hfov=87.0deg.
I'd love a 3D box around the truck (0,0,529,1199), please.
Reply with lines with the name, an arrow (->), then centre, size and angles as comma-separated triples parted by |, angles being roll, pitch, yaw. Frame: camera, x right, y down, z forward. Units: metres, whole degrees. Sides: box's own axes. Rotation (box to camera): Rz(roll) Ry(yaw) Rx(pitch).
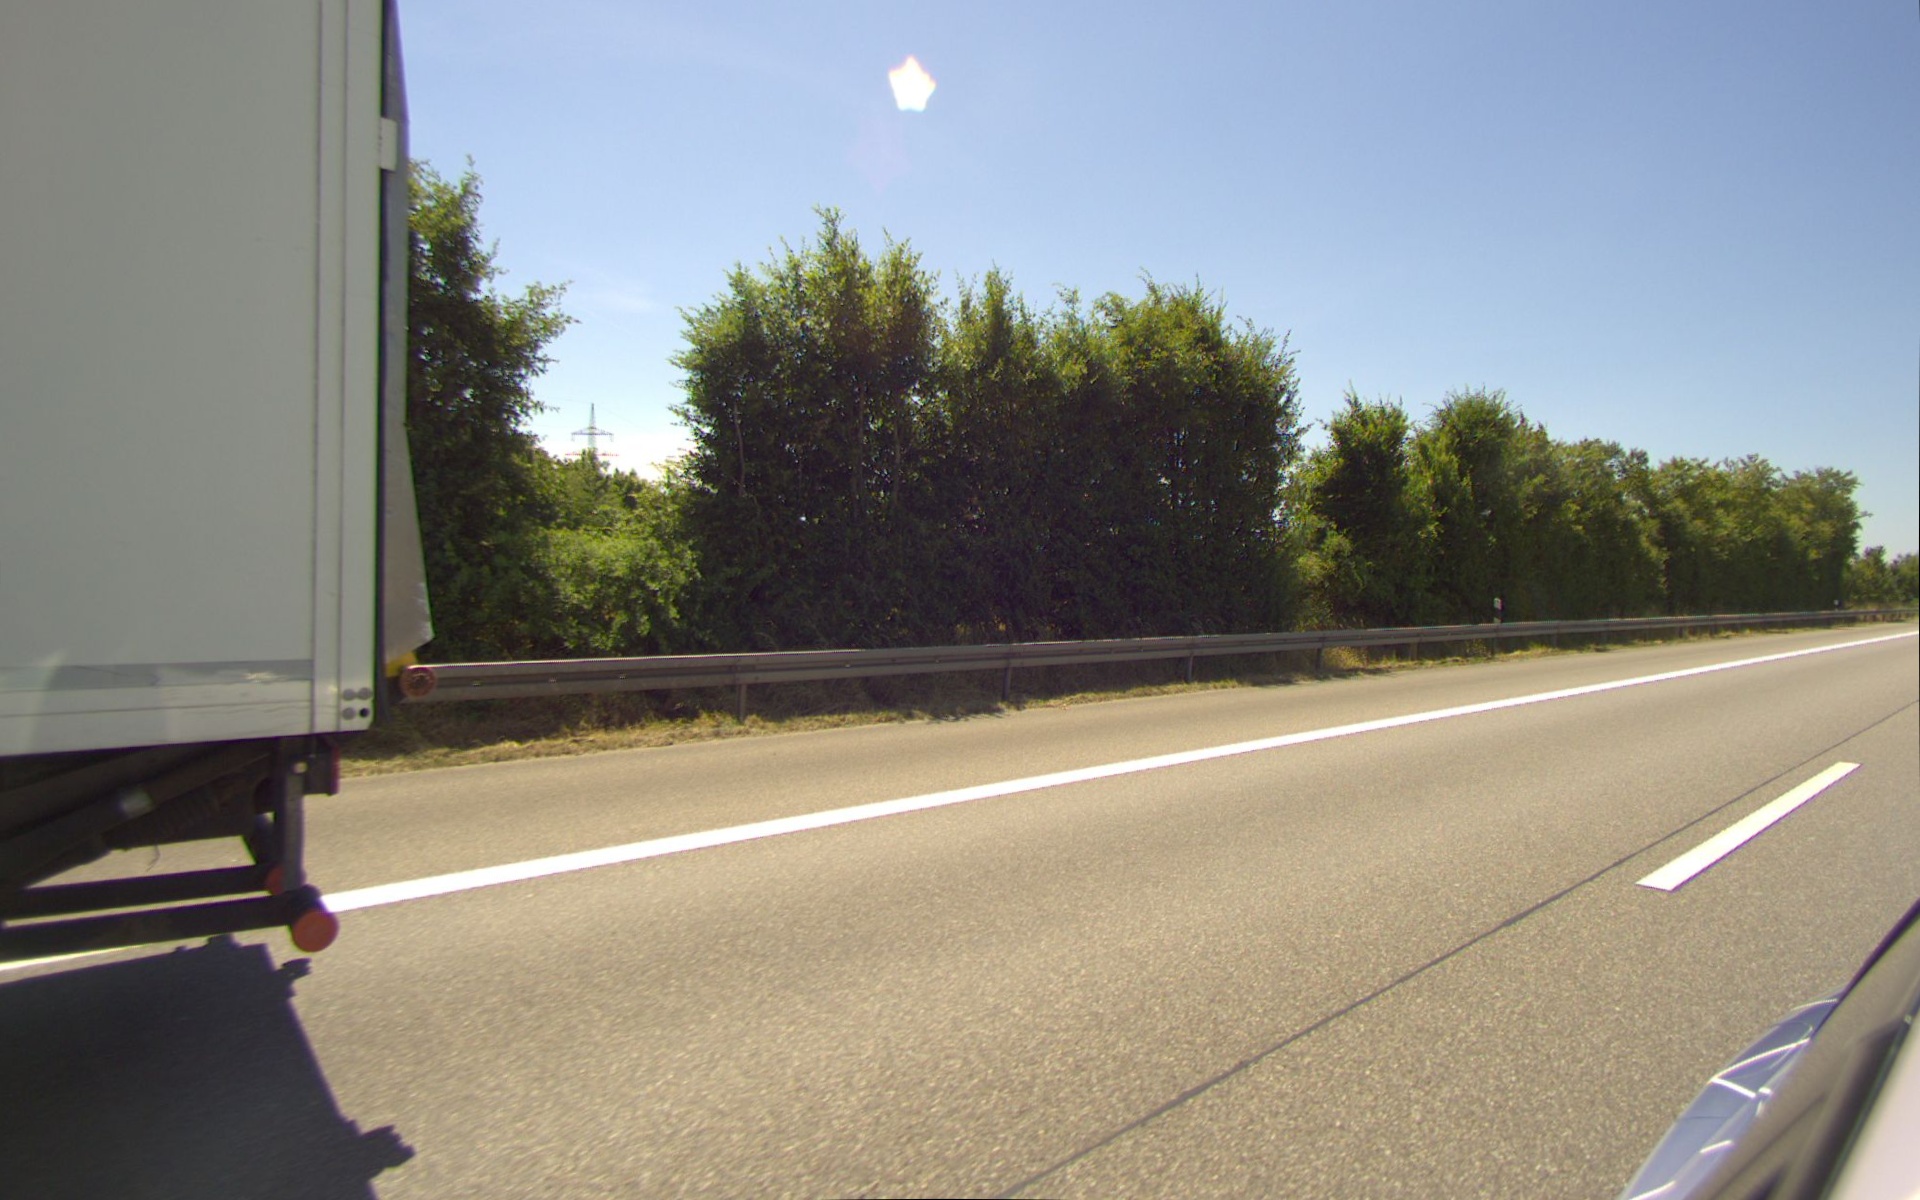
truck -> -6.027, -0.740, 0.315 | 10.495, 4.253, 2.938 | 0, 0, -41
